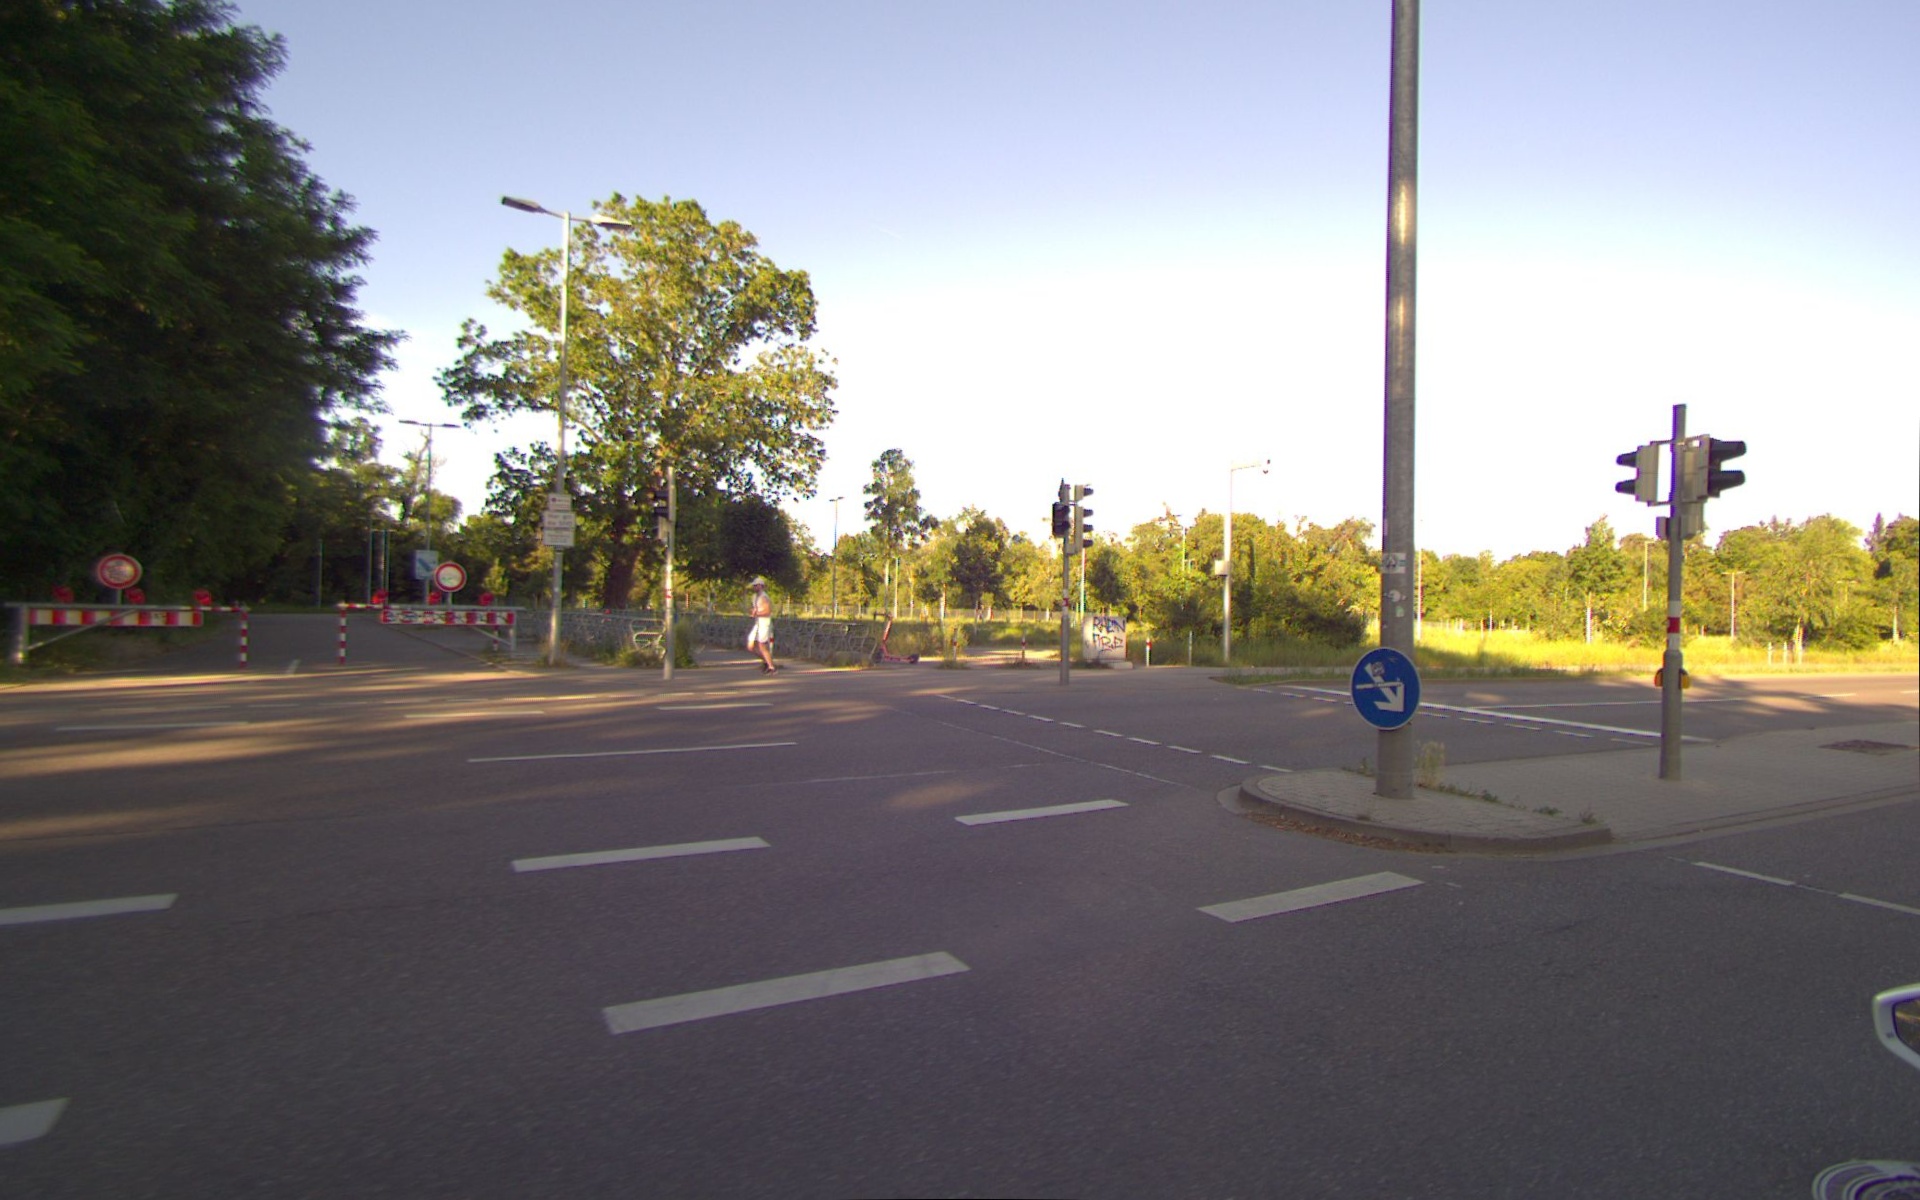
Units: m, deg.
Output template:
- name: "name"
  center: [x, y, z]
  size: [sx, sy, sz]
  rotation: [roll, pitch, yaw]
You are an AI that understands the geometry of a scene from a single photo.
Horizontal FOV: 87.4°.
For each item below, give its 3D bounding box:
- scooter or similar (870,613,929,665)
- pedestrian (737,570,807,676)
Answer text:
- name: "scooter or similar"
  center: [-1.493, 0.973, 24.785]
  size: [1.337, 1.240, 0.511]
  rotation: [2, -1, -17]
- name: "pedestrian"
  center: [-3.524, 0.443, 18.833]
  size: [1.094, 1.934, 0.609]
  rotation: [2, -1, -31]
